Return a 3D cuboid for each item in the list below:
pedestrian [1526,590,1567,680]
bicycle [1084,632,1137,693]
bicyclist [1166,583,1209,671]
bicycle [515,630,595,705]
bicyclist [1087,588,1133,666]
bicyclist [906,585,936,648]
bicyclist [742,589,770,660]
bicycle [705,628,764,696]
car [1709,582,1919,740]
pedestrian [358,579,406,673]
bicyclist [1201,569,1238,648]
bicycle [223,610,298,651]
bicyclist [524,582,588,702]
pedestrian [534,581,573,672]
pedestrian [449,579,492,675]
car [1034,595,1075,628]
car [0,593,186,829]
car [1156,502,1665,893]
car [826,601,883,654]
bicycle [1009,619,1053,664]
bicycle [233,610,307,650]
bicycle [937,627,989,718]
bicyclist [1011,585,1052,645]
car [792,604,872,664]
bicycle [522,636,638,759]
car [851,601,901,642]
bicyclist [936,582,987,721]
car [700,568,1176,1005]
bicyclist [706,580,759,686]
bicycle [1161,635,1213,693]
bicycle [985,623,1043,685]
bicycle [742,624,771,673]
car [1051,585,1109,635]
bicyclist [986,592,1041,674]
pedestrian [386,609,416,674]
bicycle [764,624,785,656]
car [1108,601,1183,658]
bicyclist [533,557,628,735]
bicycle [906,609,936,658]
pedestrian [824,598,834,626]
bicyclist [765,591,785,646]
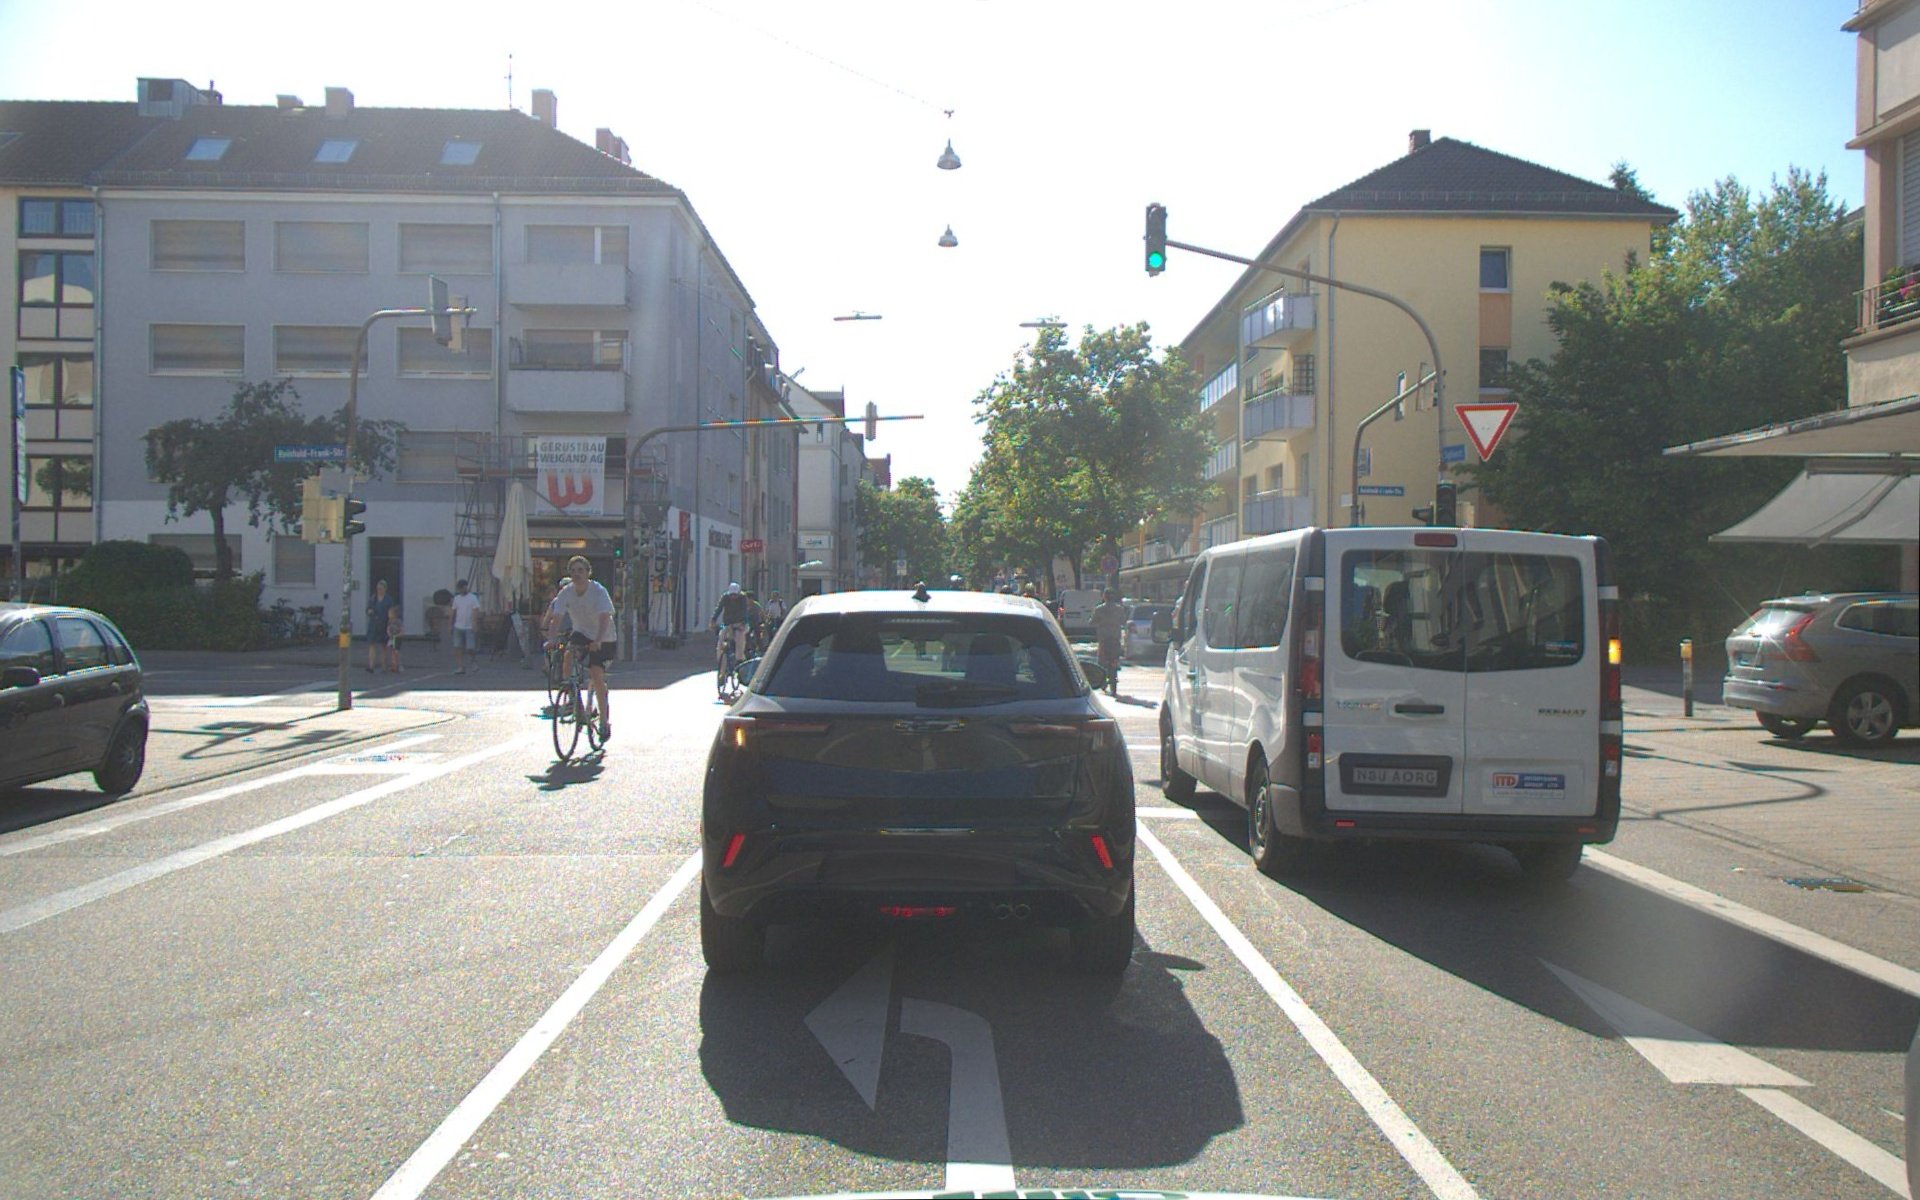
[{"bbox_3d":[10.465,0.622,29.531,0.528,1.598,0.539,0,0,-1],"label":"pedestrian"},{"bbox_3d":[2.365,0.970,26.154,0.677,0.881,1.876,0,0,0],"label":"bicycle"},{"bbox_3d":[3.694,0.424,26.896,0.576,1.406,0.823,0,0,0],"label":"bicyclist"},{"bbox_3d":[-5.736,0.936,23.543,0.666,0.969,1.933,-1,0,-1],"label":"bicycle"},{"bbox_3d":[2.374,0.426,26.162,0.678,1.214,0.595,0,0,0],"label":"bicyclist"},{"bbox_3d":[-1.048,0.449,44.904,0.785,1.678,1.125,0,0,0],"label":"bicyclist"},{"bbox_3d":[-4.104,0.483,33.265,0.532,1.415,0.787,0,0,-8],"label":"bicyclist"},{"bbox_3d":[-3.514,0.947,25.937,0.666,0.969,1.933,-1,0,-1],"label":"bicycle"},{"bbox_3d":[10.810,0.660,18.654,3.905,1.691,1.825,0,0,-1],"label":"car"},{"bbox_3d":[-10.689,0.469,30.590,0.561,1.712,0.968,0,0,-2],"label":"pedestrian"},{"bbox_3d":[4.723,0.151,30.139,0.535,1.406,0.823,0,0,0],"label":"bicyclist"},{"bbox_3d":[-16.497,0.721,39.029,1.556,0.956,0.512,0,0,1],"label":"bicycle"},{"bbox_3d":[-5.752,0.591,23.607,0.666,1.659,0.899,-1,0,-1],"label":"bicyclist"},{"bbox_3d":[-7.297,0.472,29.692,0.520,1.609,0.563,0,0,4],"label":"pedestrian"},{"bbox_3d":[-8.864,0.491,29.978,0.561,1.718,0.669,0,0,0],"label":"pedestrian"},{"bbox_3d":[4.362,0.513,76.959,1.677,1.509,3.380,0,0,0],"label":"car"},{"bbox_3d":[-7.099,0.718,11.511,1.657,1.473,3.855,2,0,-2],"label":"car"},{"bbox_3d":[2.641,0.519,11.107,1.928,1.974,5.054,2,0,-1],"label":"car"},{"bbox_3d":[-3.292,0.850,52.288,1.559,1.593,4.088,-1,-1,0],"label":"car"},{"bbox_3d":[1.645,0.955,38.664,0.839,0.961,2.307,2,0,-1],"label":"bicycle"},{"bbox_3d":[-16.557,0.724,39.683,1.556,0.956,0.512,0,0,1],"label":"bicycle"},{"bbox_3d":[0.020,0.889,20.794,0.619,1.059,1.795,0,0,-1],"label":"bicycle"},{"bbox_3d":[1.672,0.349,38.760,0.839,1.337,1.210,2,0,-1],"label":"bicyclist"},{"bbox_3d":[-3.299,0.849,43.319,1.800,1.459,4.176,0,0,0],"label":"car"},{"bbox_3d":[-3.633,0.902,15.943,0.702,1.082,1.872,0,0,-1],"label":"bicycle"},{"bbox_3d":[-3.128,0.774,61.838,1.769,1.437,4.423,-1,0,-3],"label":"car"},{"bbox_3d":[0.013,0.627,20.813,0.619,1.698,1.050,0,0,-1],"label":"bicyclist"},{"bbox_3d":[-0.107,0.688,8.022,1.726,1.586,3.999,0,0,-1],"label":"car"},{"bbox_3d":[-3.525,0.504,25.681,0.666,1.604,0.899,-1,0,-1],"label":"bicyclist"},{"bbox_3d":[3.696,1.030,27.071,0.607,0.881,1.876,0,0,0],"label":"bicycle"},{"bbox_3d":[0.908,0.908,28.448,0.839,0.961,2.307,2,0,-1],"label":"bicycle"},{"bbox_3d":[-4.081,0.963,33.095,0.532,0.918,1.822,0,0,-9],"label":"bicycle"},{"bbox_3d":[4.658,0.373,64.768,2.004,1.879,4.584,0,0,0],"label":"car"},{"bbox_3d":[0.915,0.555,28.489,0.839,1.337,1.210,2,0,-1],"label":"bicyclist"},{"bbox_3d":[-10.201,0.755,30.213,0.378,1.166,0.531,0,0,-3],"label":"pedestrian"},{"bbox_3d":[-5.307,1.137,47.392,0.542,0.848,2.129,1,0,-6],"label":"bicycle"},{"bbox_3d":[5.098,0.788,45.882,1.677,1.509,3.480,0,0,0],"label":"car"},{"bbox_3d":[-3.638,0.430,15.899,0.702,1.648,0.946,0,-1,-1],"label":"bicyclist"},{"bbox_3d":[-1.050,0.892,45.159,0.785,1.277,2.138,0,0,0],"label":"bicycle"},{"bbox_3d":[-7.338,0.670,92.740,0.566,1.610,0.707,0,0,-6],"label":"pedestrian"},{"bbox_3d":[-5.309,0.531,47.578,0.542,1.576,0.813,1,0,-6],"label":"bicyclist"}]
